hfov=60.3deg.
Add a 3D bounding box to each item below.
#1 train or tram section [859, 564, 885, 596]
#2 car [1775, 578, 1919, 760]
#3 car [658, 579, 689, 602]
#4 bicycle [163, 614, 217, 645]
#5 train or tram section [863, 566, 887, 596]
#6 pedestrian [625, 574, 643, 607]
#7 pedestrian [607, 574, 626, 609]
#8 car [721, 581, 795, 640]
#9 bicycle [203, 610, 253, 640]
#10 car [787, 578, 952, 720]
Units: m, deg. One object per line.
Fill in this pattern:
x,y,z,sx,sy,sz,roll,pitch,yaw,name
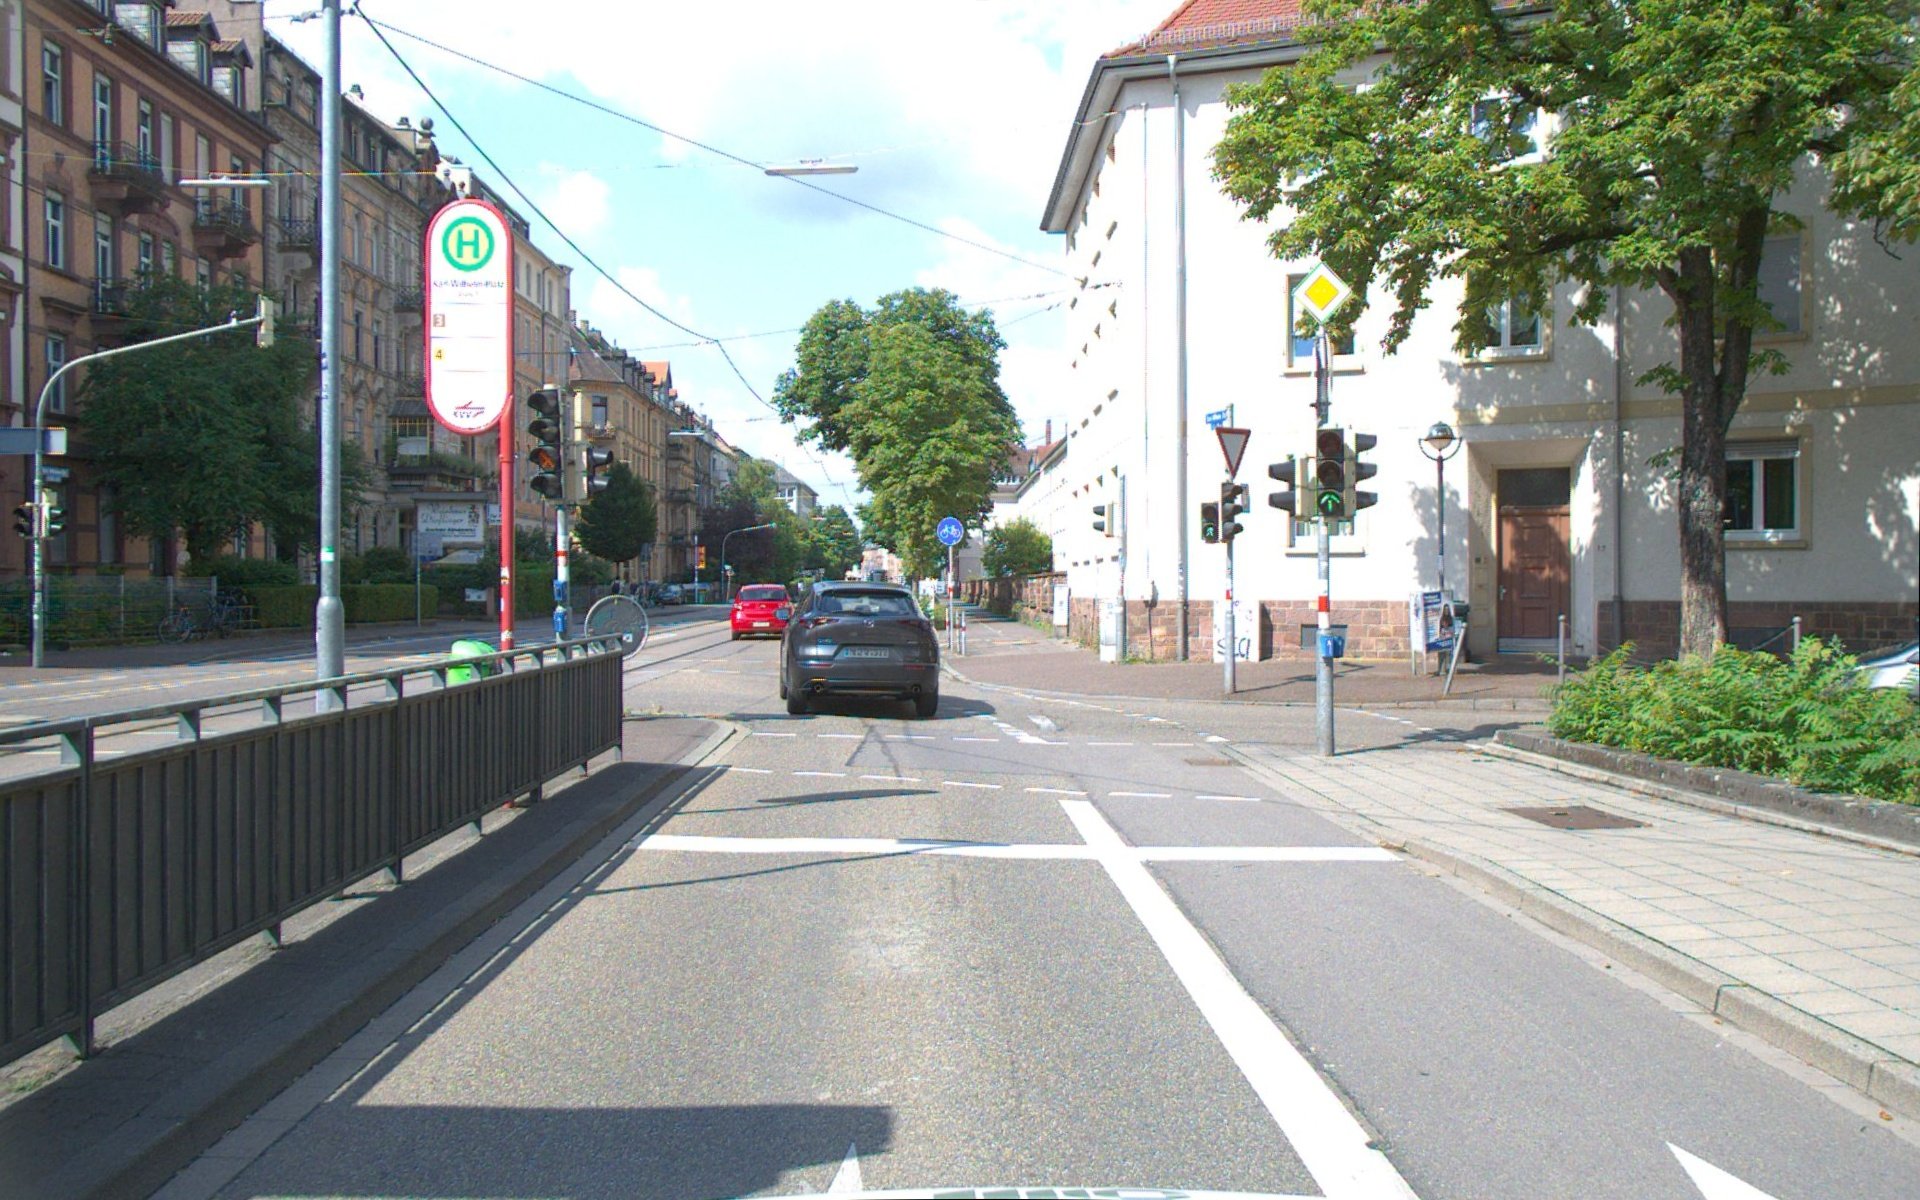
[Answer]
-11.648,-2.634,219.994,2.937,4.053,13.804,0,0,-1,train or tram section
9.606,0.601,14.512,4.096,1.536,1.841,1,2,41,car
-20.614,-0.710,119.123,1.623,1.624,3.928,0,1,-2,car
-17.829,0.682,38.313,0.377,0.664,1.712,0,1,3,bicycle
-11.981,-2.597,233.806,2.937,4.053,13.804,0,0,-1,train or tram section
-17.170,-0.498,87.058,0.771,1.718,0.732,0,0,0,pedestrian
-16.628,-0.415,80.057,0.771,1.718,0.732,0,0,0,pedestrian
-5.584,0.261,45.434,1.743,1.489,3.833,1,1,-11,car
-17.930,0.613,40.518,0.377,0.688,1.712,0,1,3,bicycle
-1.211,0.532,20.493,1.748,1.540,3.994,2,0,-7,car
